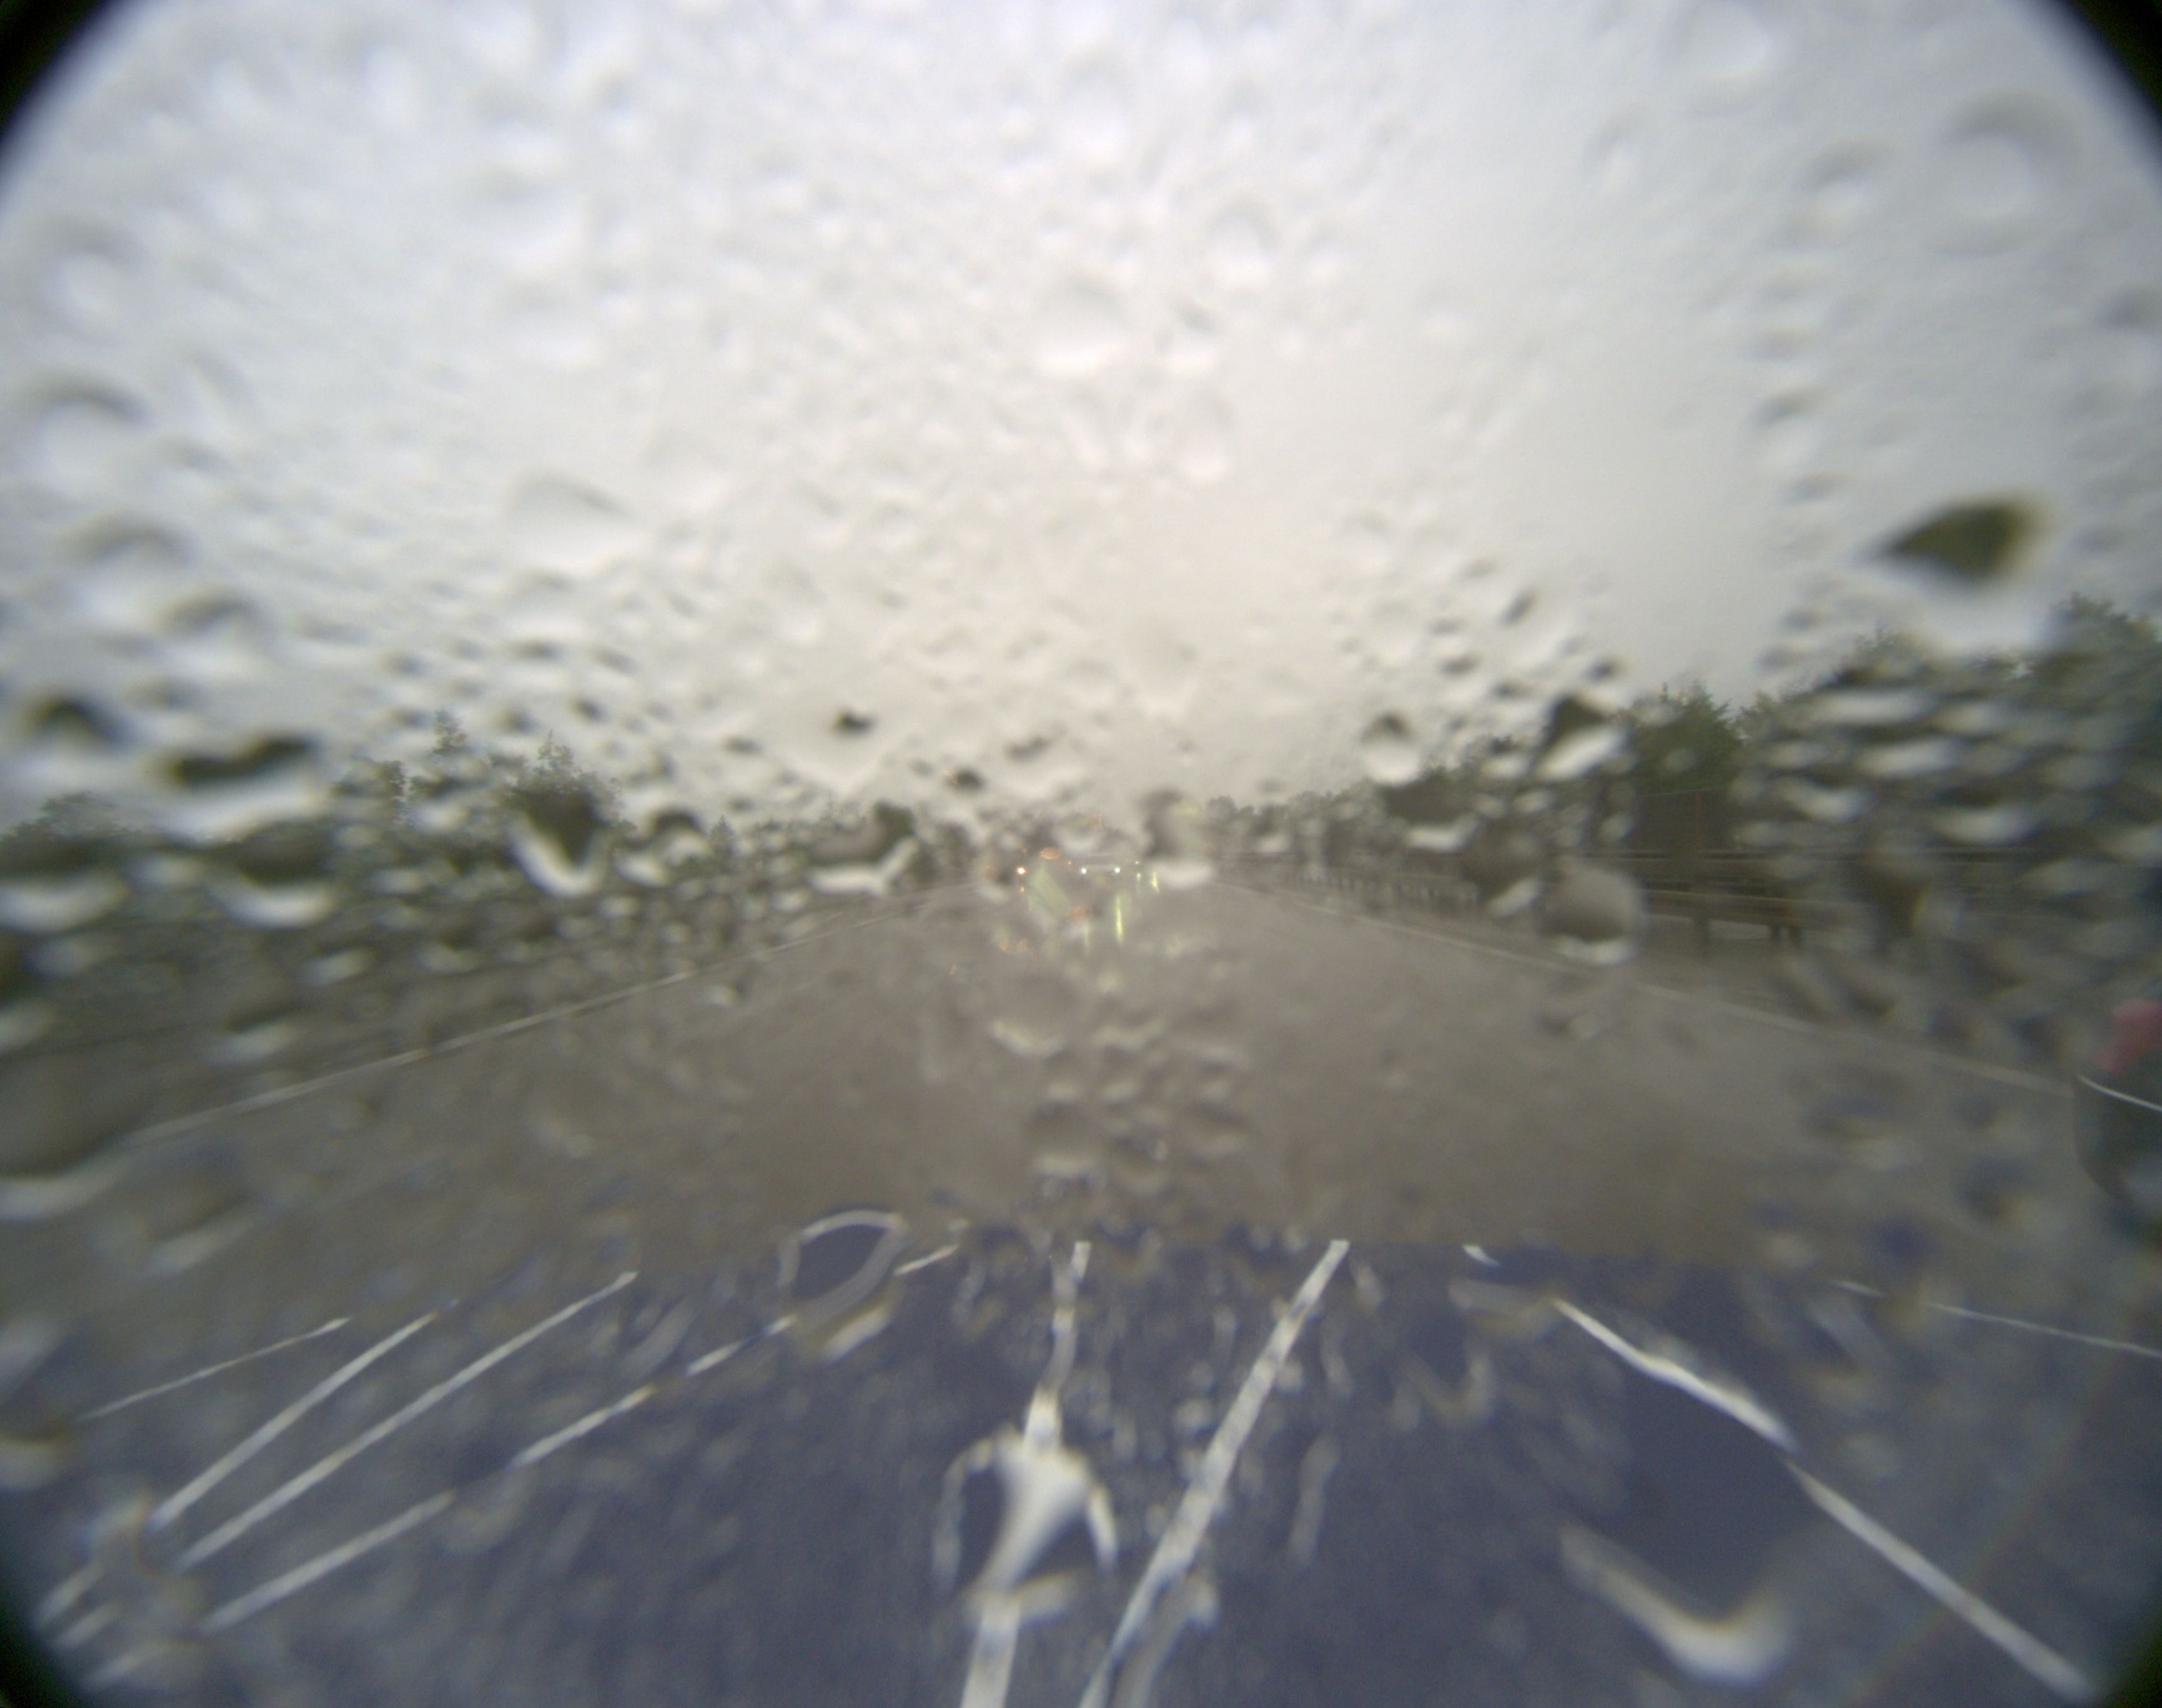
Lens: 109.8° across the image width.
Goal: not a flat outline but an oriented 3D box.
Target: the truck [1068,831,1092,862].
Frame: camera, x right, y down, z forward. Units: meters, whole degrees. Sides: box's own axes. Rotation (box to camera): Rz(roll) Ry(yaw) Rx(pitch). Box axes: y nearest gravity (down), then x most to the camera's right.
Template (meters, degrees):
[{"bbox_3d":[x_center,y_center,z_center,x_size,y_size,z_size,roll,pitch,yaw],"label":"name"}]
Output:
[{"bbox_3d":[-0.054,-1.067,107.884,2.754,4.055,6.484,-2,1,5],"label":"truck"}]

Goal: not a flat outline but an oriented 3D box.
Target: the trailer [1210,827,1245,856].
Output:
[{"bbox_3d":[25.581,-2.086,133.214,3.878,4.668,12.244,-2,0,2],"label":"trailer"}]

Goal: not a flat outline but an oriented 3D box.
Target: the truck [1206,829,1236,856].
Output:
[{"bbox_3d":[25.793,-2.072,140.050,3.845,4.612,9.493,-2,0,1],"label":"truck"}]

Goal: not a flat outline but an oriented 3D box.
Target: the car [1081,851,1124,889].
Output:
[{"bbox_3d":[1.029,0.666,34.244,1.751,1.545,4.091,-2,0,4],"label":"car"}]

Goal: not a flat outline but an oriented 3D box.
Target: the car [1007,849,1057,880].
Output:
[{"bbox_3d":[-3.014,0.627,47.909,2.463,1.736,5.719,-2,0,2],"label":"car"}]

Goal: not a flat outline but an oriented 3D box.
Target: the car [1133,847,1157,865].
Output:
[{"bbox_3d":[5.791,0.151,69.054,1.900,1.533,4.090,-2,0,2],"label":"car"}]
